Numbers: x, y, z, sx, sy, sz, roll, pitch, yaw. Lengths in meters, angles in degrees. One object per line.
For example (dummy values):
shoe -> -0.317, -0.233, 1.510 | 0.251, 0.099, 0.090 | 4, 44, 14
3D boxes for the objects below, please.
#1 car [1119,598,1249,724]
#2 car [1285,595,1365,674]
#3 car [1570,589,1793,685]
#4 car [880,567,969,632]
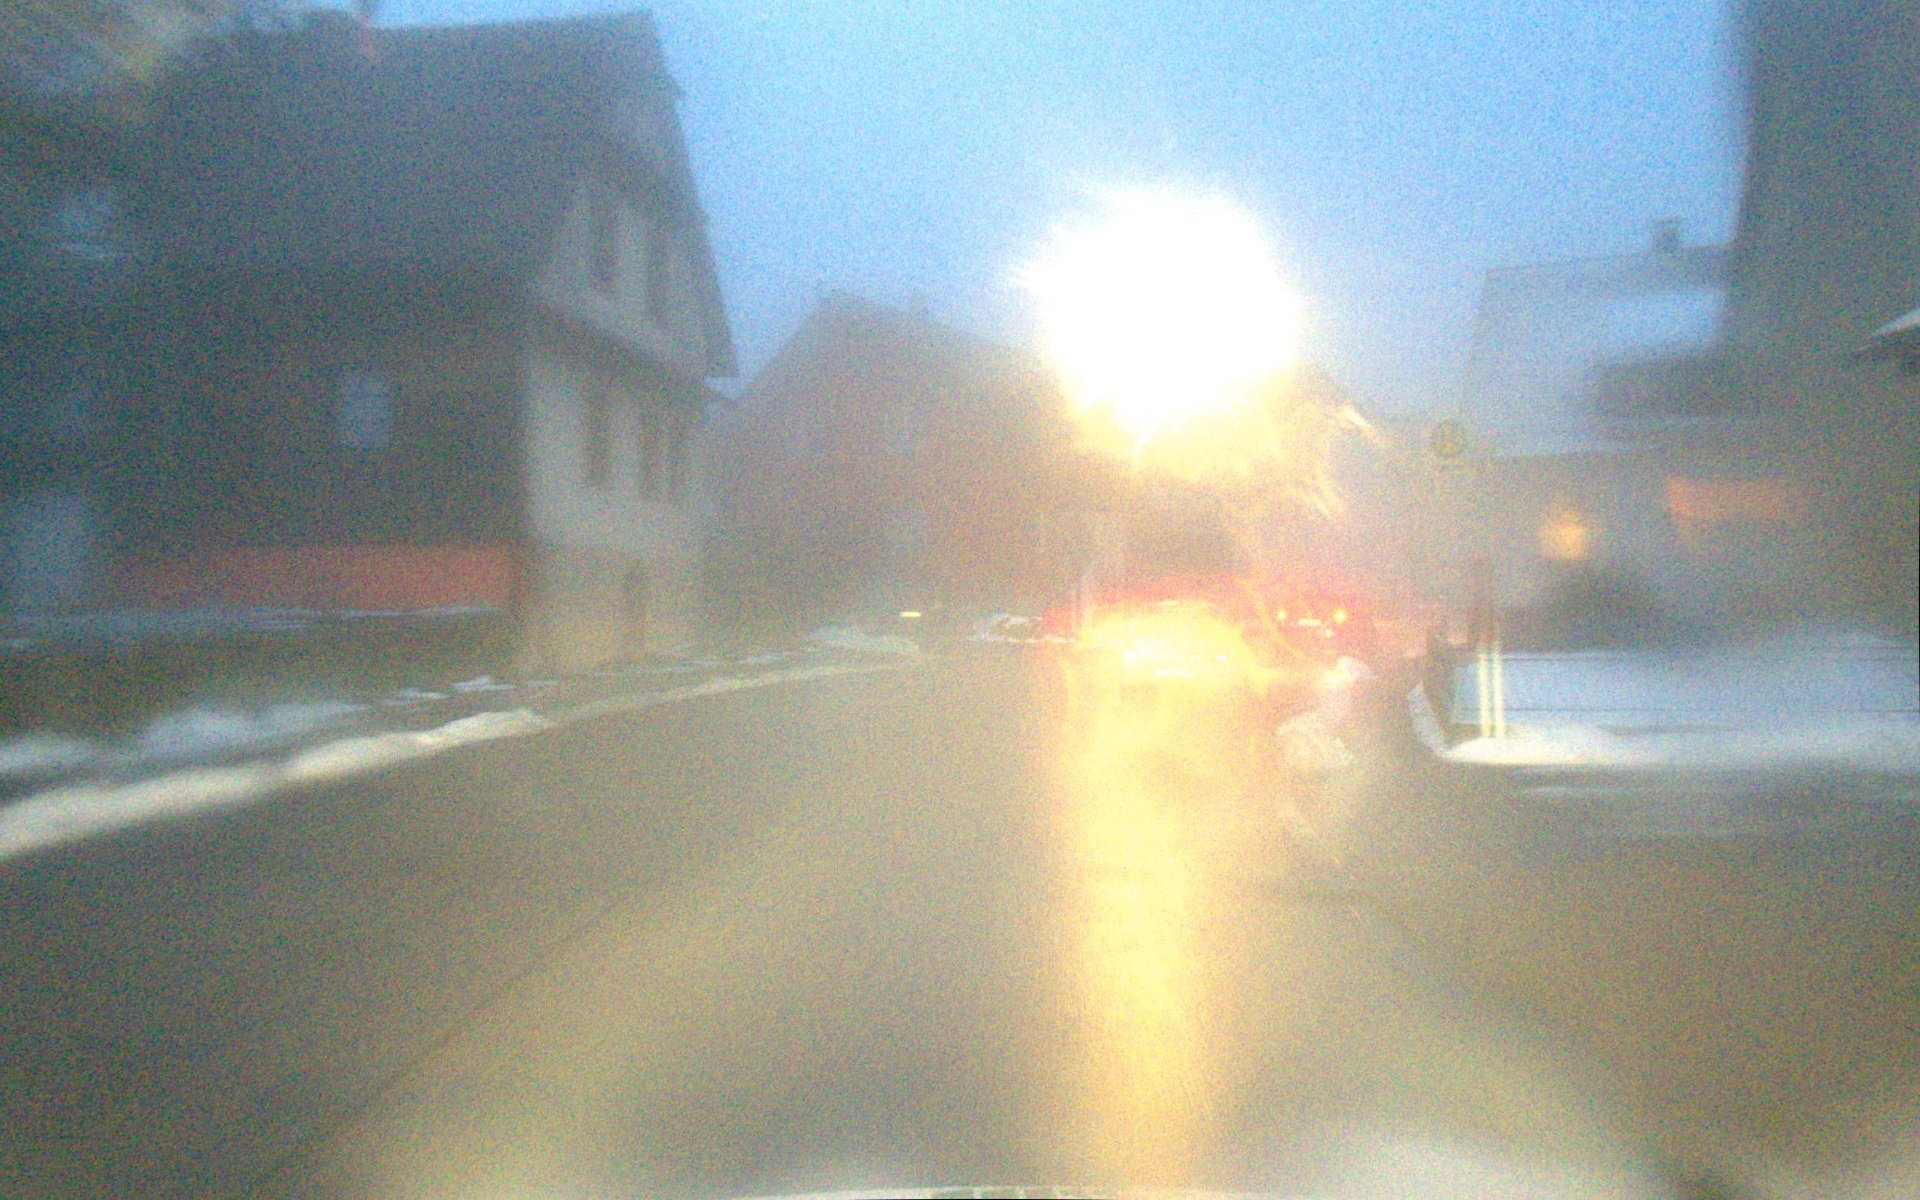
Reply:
car -> 3.280, 0.812, 23.735 | 1.610, 1.624, 3.702 | 1, 0, 11
car -> 8.062, 0.738, 36.717 | 1.610, 1.624, 3.702 | 1, 0, 11
car -> 14.345, 0.699, 32.968 | 3.908, 1.623, 1.910 | 3, 1, 25
car -> -0.854, 0.007, 42.512 | 1.834, 1.530, 4.002 | 2, 0, 5
